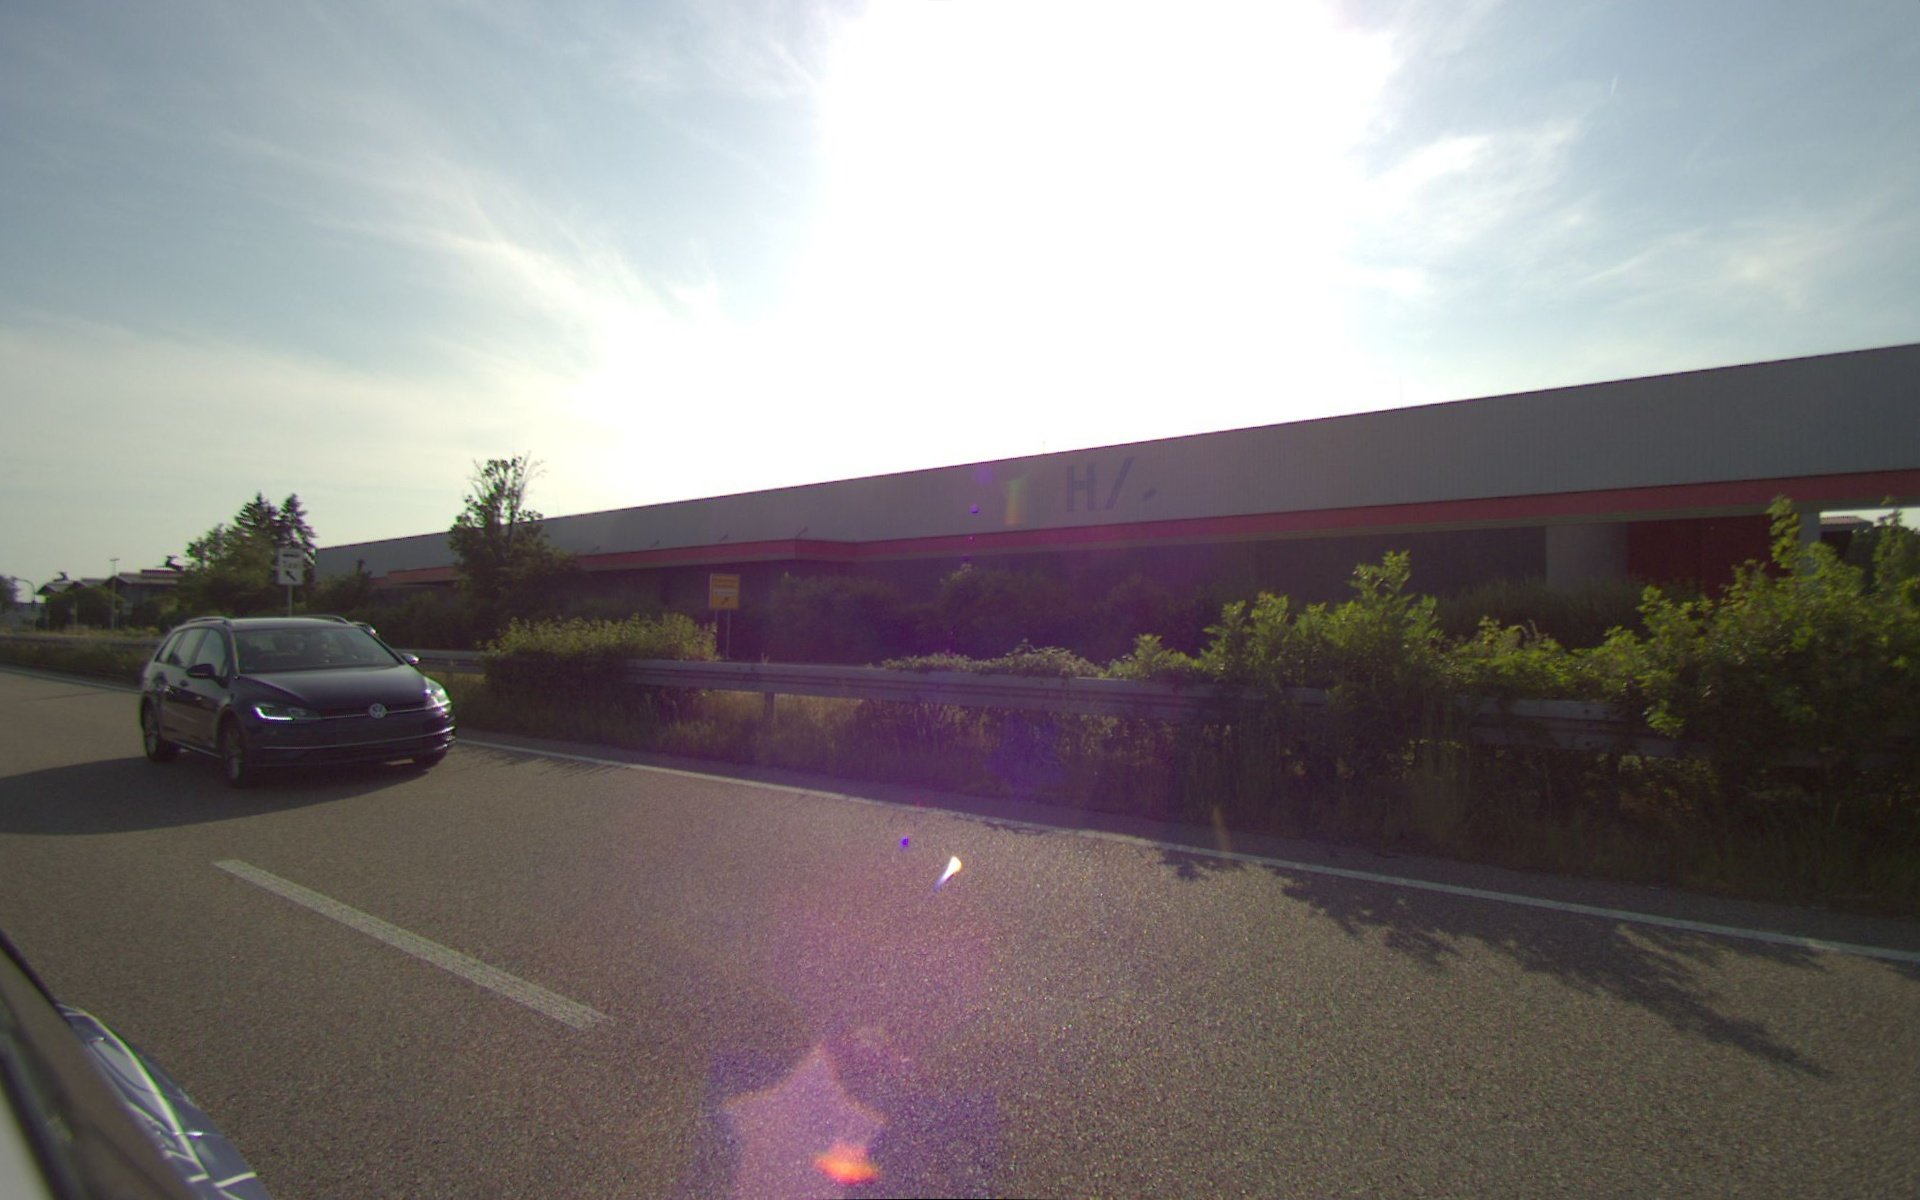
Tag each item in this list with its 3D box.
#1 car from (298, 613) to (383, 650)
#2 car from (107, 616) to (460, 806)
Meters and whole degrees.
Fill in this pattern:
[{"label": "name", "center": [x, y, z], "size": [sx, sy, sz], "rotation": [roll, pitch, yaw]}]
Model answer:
[{"label": "car", "center": [-25.188, 1.274, 41.115], "size": [3.996, 1.435, 1.761], "rotation": [-1, -2, 40]}, {"label": "car", "center": [-6.900, 0.925, 10.097], "size": [4.771, 1.482, 1.630], "rotation": [-1, -2, 39]}]
